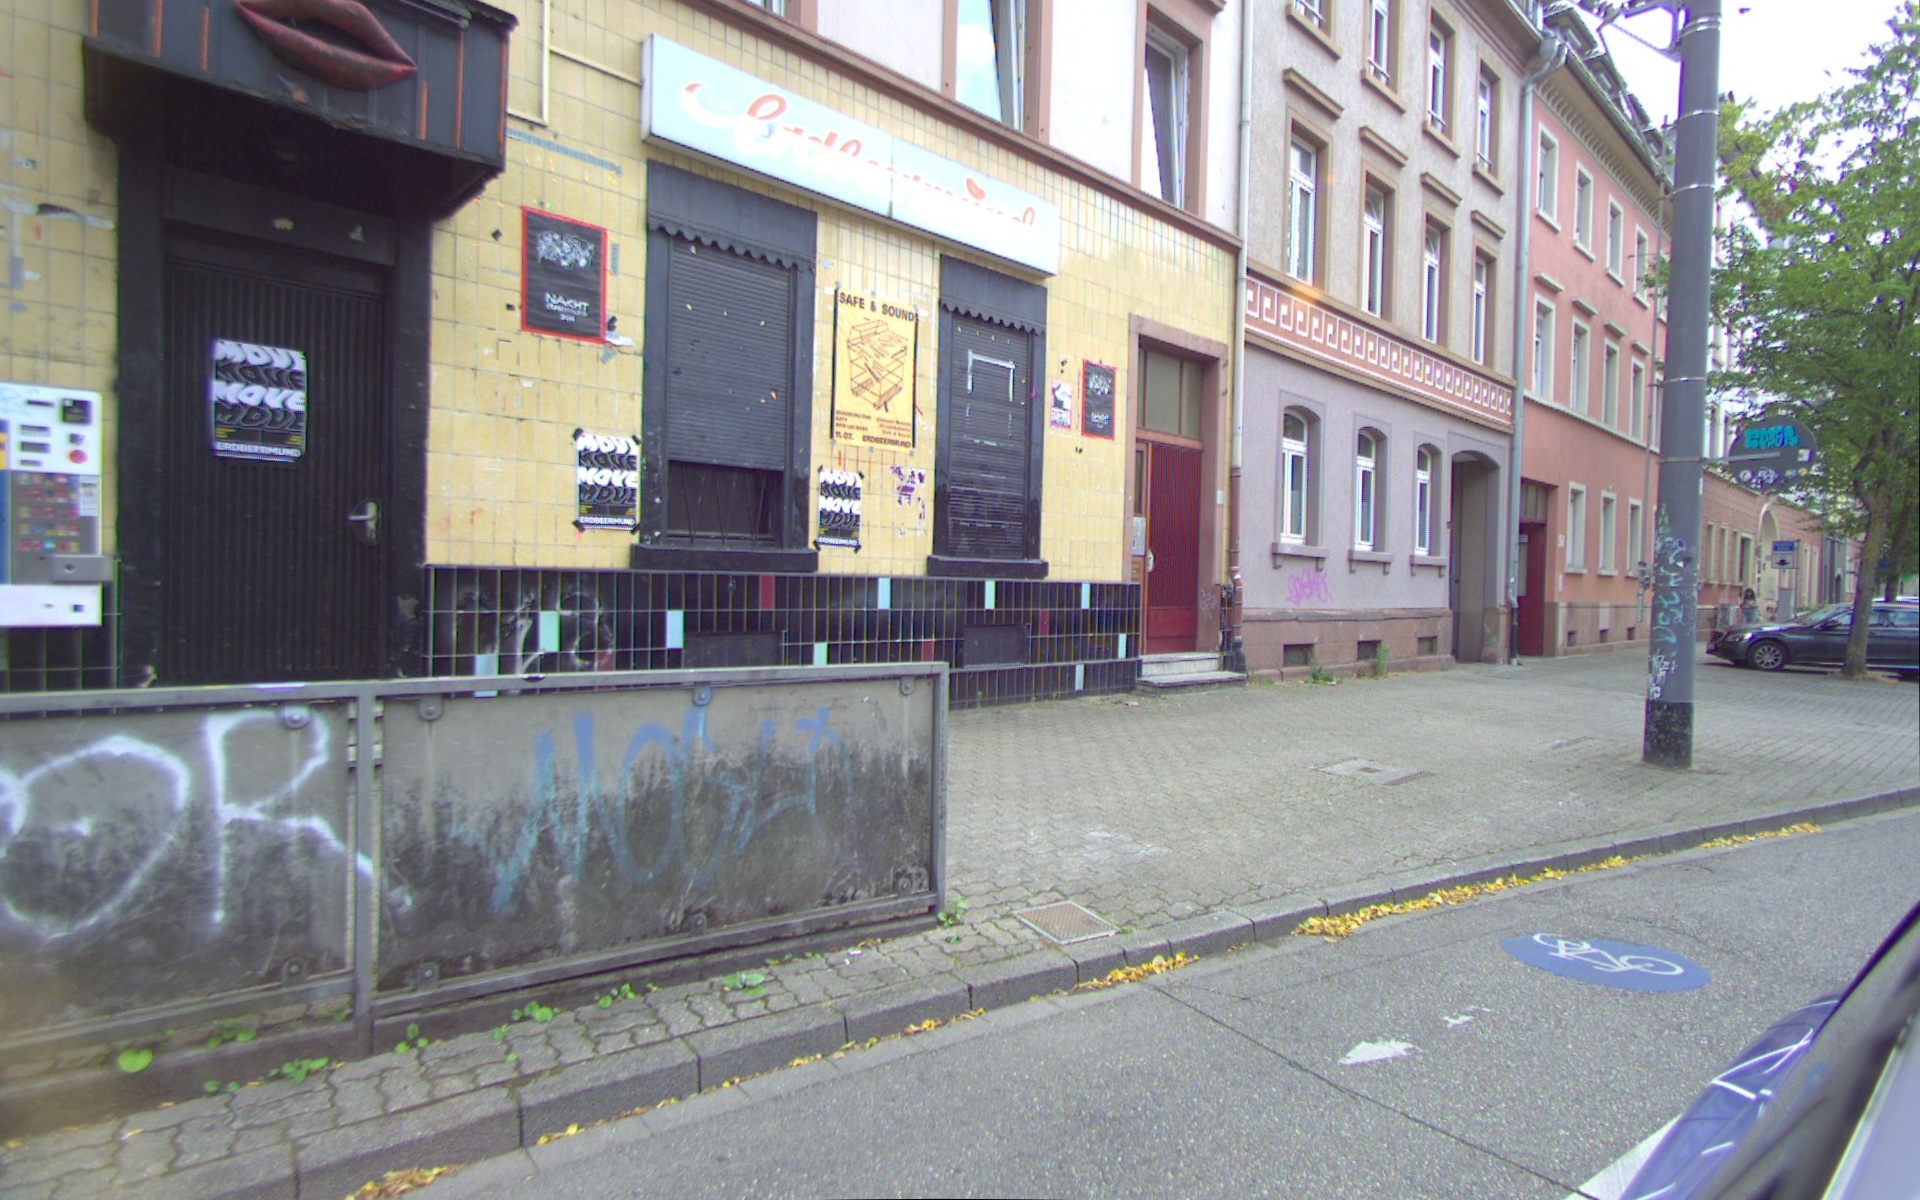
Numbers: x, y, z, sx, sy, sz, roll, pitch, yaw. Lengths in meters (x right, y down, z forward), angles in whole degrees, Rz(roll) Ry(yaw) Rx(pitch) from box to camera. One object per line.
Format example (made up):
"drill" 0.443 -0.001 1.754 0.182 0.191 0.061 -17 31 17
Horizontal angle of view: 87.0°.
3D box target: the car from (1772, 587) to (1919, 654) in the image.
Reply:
"car" 23.140 0.523 25.090 4.301 1.498 1.774 3 2 25

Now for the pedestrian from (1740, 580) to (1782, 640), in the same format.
"pedestrian" 24.106 0.291 30.452 0.910 1.708 0.732 1 4 -42

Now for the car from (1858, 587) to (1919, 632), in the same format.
"car" 39.172 0.443 40.349 4.581 1.719 1.901 3 2 25

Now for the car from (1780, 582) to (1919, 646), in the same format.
"car" 27.668 0.428 30.505 4.196 1.719 1.725 3 2 25

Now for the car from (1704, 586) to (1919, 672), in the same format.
"car" 18.030 0.583 20.370 4.581 1.491 1.774 3 2 25
